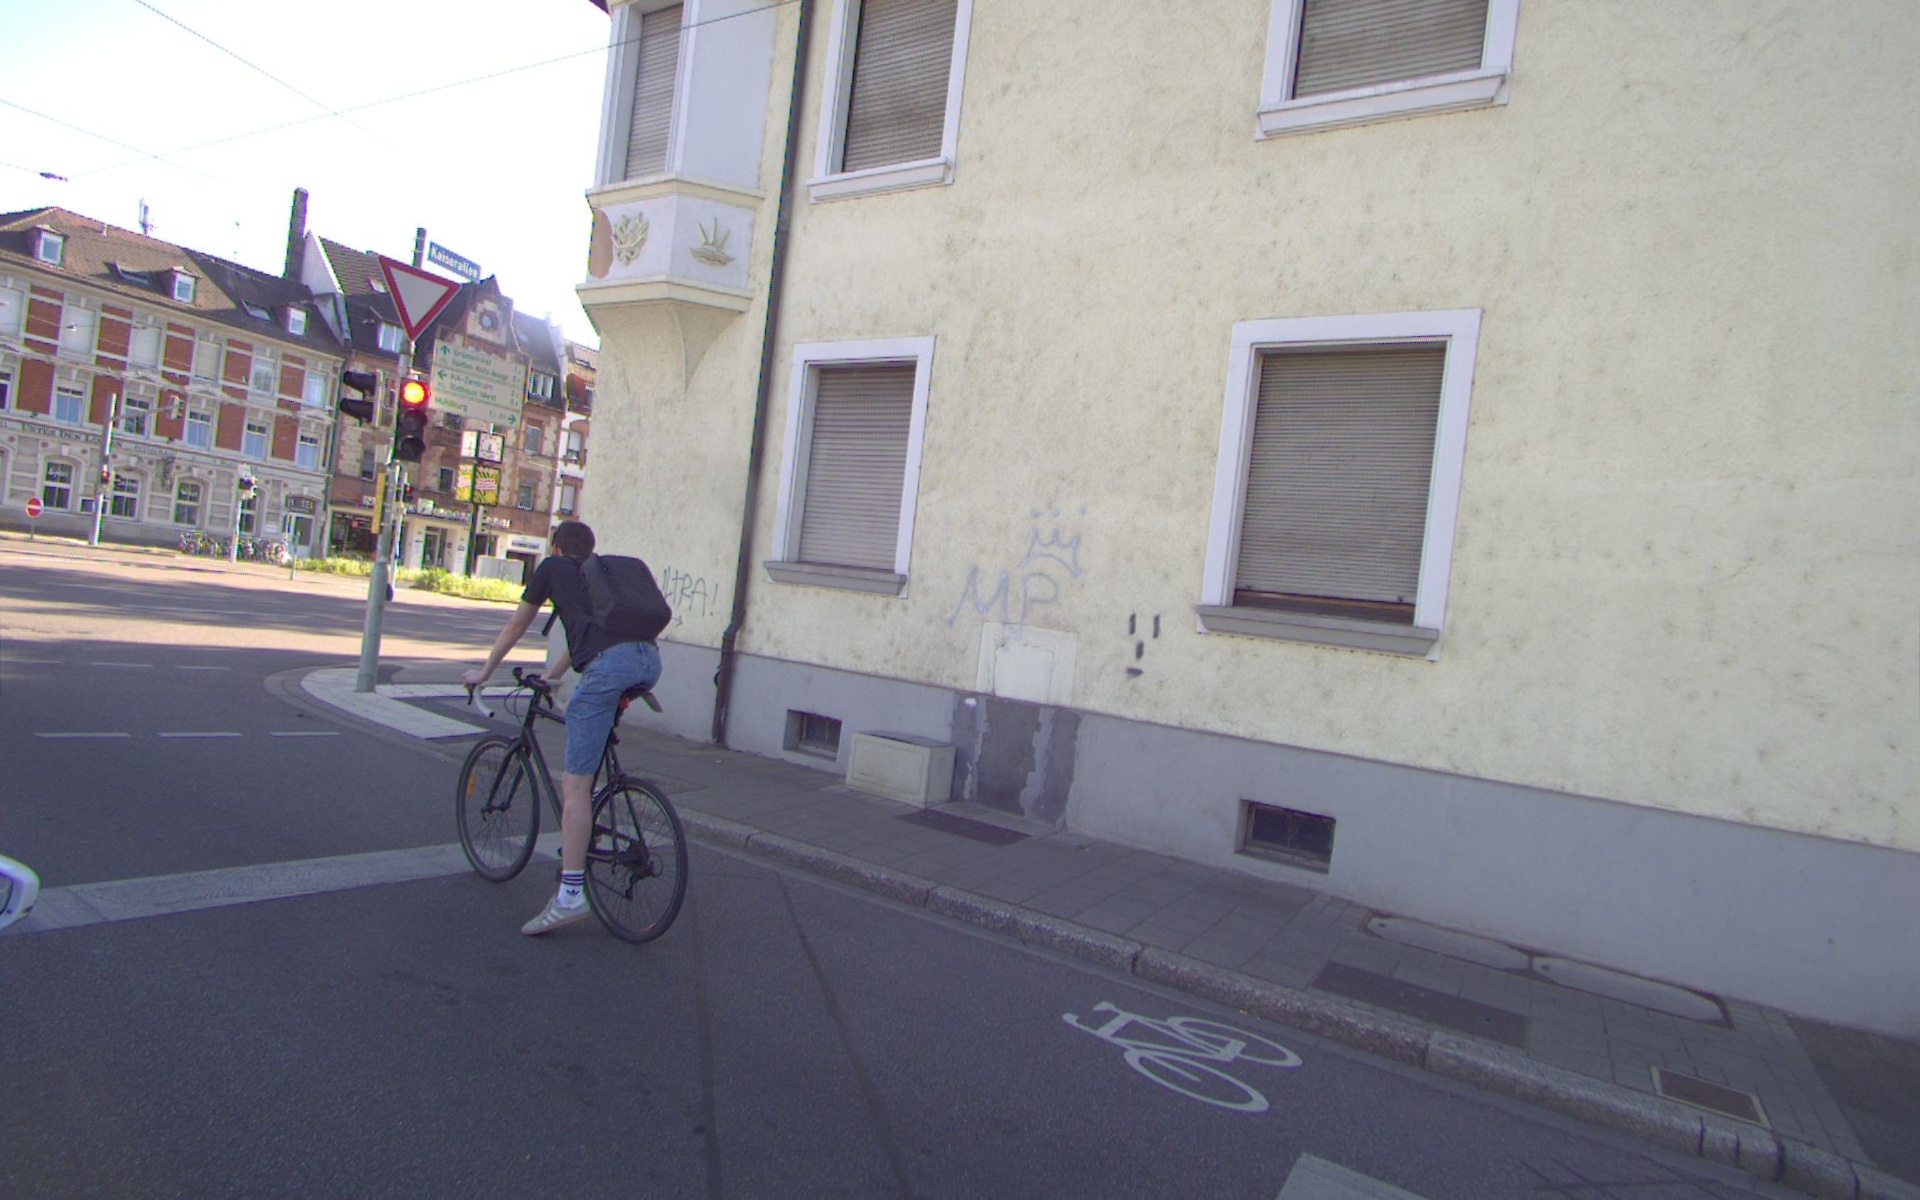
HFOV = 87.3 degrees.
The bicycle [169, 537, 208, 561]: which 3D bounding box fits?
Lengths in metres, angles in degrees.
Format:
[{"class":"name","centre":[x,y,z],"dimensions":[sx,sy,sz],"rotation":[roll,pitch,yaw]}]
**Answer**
[{"class":"bicycle","centre":[-34.874,-2.298,45.483],"dimensions":[2.125,0.850,0.659],"rotation":[6,-2,33]}]

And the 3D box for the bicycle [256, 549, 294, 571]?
[{"class":"bicycle","centre":[-33.107,-1.941,48.602],"dimensions":[2.125,0.850,0.659],"rotation":[6,-2,33]}]

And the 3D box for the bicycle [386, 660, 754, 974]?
[{"class":"bicycle","centre":[-1.793,0.879,4.514],"dimensions":[1.721,0.982,0.519],"rotation":[7,0,32]}]

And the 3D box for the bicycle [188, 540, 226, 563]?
[{"class":"bicycle","centre":[-34.558,-2.230,46.150],"dimensions":[2.125,0.850,0.659],"rotation":[6,-2,33]}]

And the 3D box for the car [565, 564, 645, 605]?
[{"class":"car","centre":[-23.018,-0.997,65.330],"dimensions":[1.968,2.038,4.430],"rotation":[7,-1,34]}]

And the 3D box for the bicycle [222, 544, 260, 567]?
[{"class":"bicycle","centre":[-33.850,-2.088,47.367],"dimensions":[2.125,0.850,0.659],"rotation":[6,-2,33]}]

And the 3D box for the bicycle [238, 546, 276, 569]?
[{"class":"bicycle","centre":[-33.495,-2.020,47.898],"dimensions":[2.125,0.850,0.659],"rotation":[6,-2,33]}]

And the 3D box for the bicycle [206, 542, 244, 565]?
[{"class":"bicycle","centre":[-34.185,-2.156,46.771],"dimensions":[2.125,0.850,0.659],"rotation":[6,-2,33]}]

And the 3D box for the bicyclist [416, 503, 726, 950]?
[{"class":"bicyclist","centre":[-1.745,0.495,4.493],"dimensions":[1.098,1.722,0.573],"rotation":[7,0,32]}]
